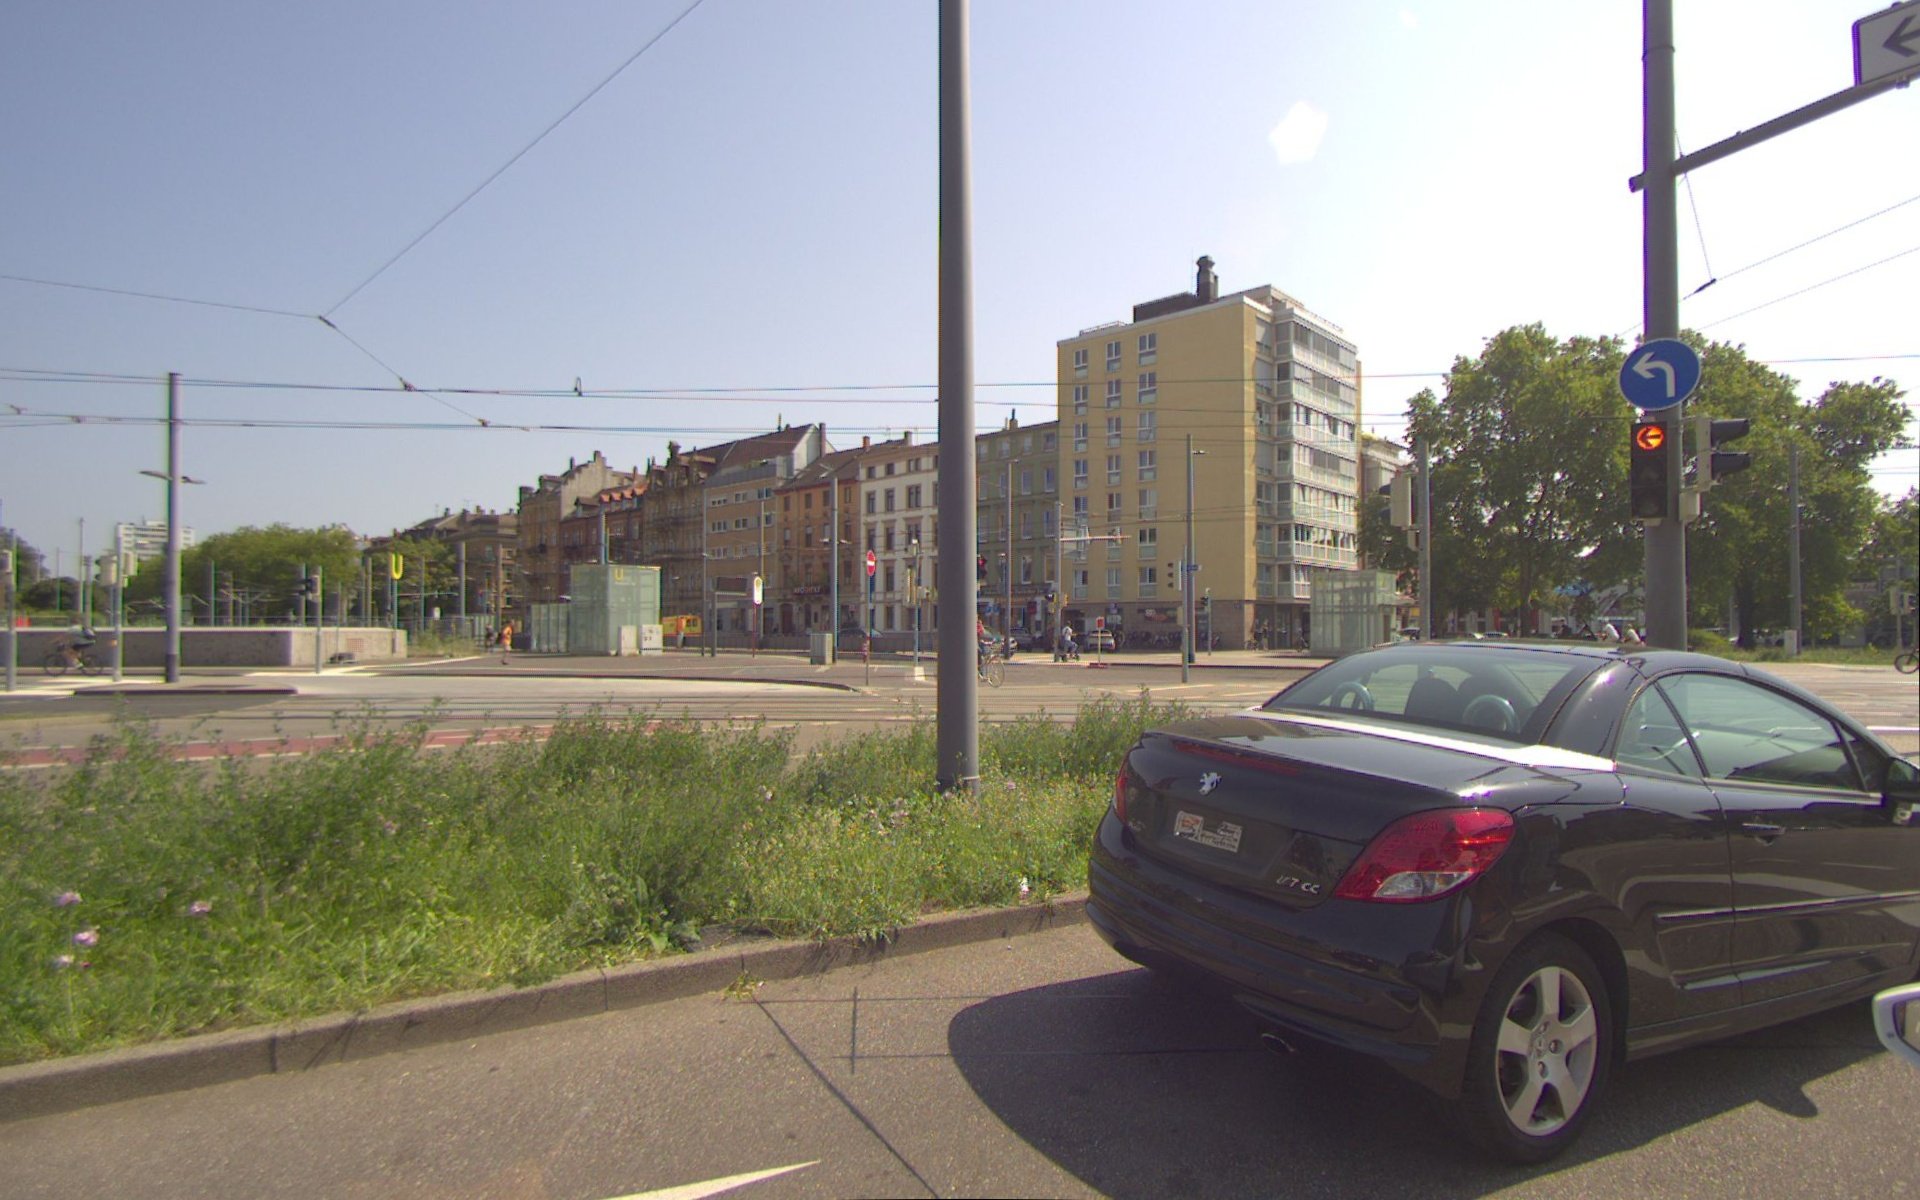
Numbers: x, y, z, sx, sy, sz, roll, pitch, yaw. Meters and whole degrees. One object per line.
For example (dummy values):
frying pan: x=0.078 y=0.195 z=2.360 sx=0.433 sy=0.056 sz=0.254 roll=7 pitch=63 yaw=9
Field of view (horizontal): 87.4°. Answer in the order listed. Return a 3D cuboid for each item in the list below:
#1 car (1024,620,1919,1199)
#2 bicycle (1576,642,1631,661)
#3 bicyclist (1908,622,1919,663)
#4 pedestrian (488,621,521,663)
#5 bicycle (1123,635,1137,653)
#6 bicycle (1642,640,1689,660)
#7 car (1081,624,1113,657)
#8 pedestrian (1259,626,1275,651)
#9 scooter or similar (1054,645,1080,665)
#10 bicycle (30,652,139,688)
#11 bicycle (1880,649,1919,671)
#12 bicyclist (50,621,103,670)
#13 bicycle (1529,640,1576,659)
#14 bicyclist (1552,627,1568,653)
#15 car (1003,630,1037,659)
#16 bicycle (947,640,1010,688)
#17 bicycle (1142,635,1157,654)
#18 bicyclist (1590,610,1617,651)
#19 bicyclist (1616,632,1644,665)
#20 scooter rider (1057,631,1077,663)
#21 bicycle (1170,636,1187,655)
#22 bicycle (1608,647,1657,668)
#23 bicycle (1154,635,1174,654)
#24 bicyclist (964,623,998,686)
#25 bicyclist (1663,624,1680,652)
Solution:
car: x=2.307 y=0.818 z=3.944 sx=3.731 sy=1.406 sz=1.759 roll=1 pitch=0 yaw=-27
bicycle: x=29.067 y=2.330 z=45.417 sx=0.476 sy=0.813 sz=2.030 roll=2 pitch=-2 yaw=-42
bicyclist: x=35.797 y=1.583 z=37.251 sx=0.494 sy=1.502 sz=0.863 roll=2 pitch=-2 yaw=-42
pedestrian: x=-17.213 y=1.599 z=37.987 sx=0.729 sy=1.563 sz=0.858 roll=0 pitch=-2 yaw=23
bicycle: x=11.794 y=3.044 z=69.808 sx=0.680 sy=1.220 sz=2.793 roll=0 pitch=-2 yaw=4
bicycle: x=34.148 y=2.405 z=48.653 sx=0.413 sy=0.954 sz=1.798 roll=2 pitch=-2 yaw=-42
car: x=8.511 y=2.505 z=62.197 sx=1.767 sy=1.951 sz=4.003 roll=0 pitch=-2 yaw=10
pedestrian: x=19.554 y=2.472 z=64.026 sx=0.844 sy=1.563 sz=0.742 roll=-1 pitch=-2 yaw=31
scooter or similar: x=4.759 y=2.435 z=44.642 sx=1.133 sy=0.835 sz=0.517 roll=1 pitch=-2 yaw=-36
bicycle: x=-26.729 y=2.120 z=30.699 sx=2.318 sy=1.056 sz=0.961 roll=1 pitch=-2 yaw=-8
bicycle: x=35.660 y=2.247 z=37.418 sx=0.476 sy=0.813 sz=2.030 roll=2 pitch=-2 yaw=-42
bicyclist: x=-26.997 y=1.370 z=30.712 sx=0.990 sy=1.446 sz=0.655 roll=2 pitch=0 yaw=-7
bicycle: x=30.442 y=2.552 z=51.636 sx=0.464 sy=0.954 sz=2.014 roll=2 pitch=-2 yaw=-42
bicyclist: x=30.651 y=2.037 z=51.307 sx=0.555 sy=1.310 sz=0.539 roll=2 pitch=-2 yaw=-41
car: x=4.022 y=2.916 z=66.786 sx=1.767 sy=1.843 sz=4.003 roll=0 pitch=-2 yaw=10
bicycle: x=0.434 y=1.560 z=24.744 sx=0.499 sy=1.108 sz=1.918 roll=1 pitch=-2 yaw=-35
bicycle: x=12.986 y=3.042 z=68.801 sx=0.680 sy=1.220 sz=3.265 roll=0 pitch=-2 yaw=4
bicyclist: x=29.084 y=1.371 z=45.392 sx=0.494 sy=1.831 sz=0.915 roll=2 pitch=-2 yaw=-42
bicyclist: x=31.033 y=2.248 z=46.532 sx=0.553 sy=1.528 sz=0.905 roll=1 pitch=-2 yaw=-32
scooter rider: x=4.782 y=2.085 z=44.777 sx=0.602 sy=1.371 sz=0.682 roll=1 pitch=-2 yaw=-35
bicycle: x=14.584 y=3.012 z=67.075 sx=0.680 sy=1.220 sz=3.265 roll=0 pitch=-2 yaw=4
bicycle: x=31.069 y=2.651 z=46.439 sx=0.561 sy=0.954 sz=1.804 roll=1 pitch=-2 yaw=-32
bicycle: x=13.774 y=3.005 z=67.851 sx=0.892 sy=1.220 sz=3.265 roll=0 pitch=-2 yaw=4
bicyclist: x=0.508 y=1.331 z=24.762 sx=0.632 sy=1.529 sz=0.553 roll=1 pitch=-2 yaw=-36
bicyclist: x=34.289 y=1.839 z=48.391 sx=0.555 sy=1.310 sz=0.539 roll=2 pitch=-2 yaw=-41
